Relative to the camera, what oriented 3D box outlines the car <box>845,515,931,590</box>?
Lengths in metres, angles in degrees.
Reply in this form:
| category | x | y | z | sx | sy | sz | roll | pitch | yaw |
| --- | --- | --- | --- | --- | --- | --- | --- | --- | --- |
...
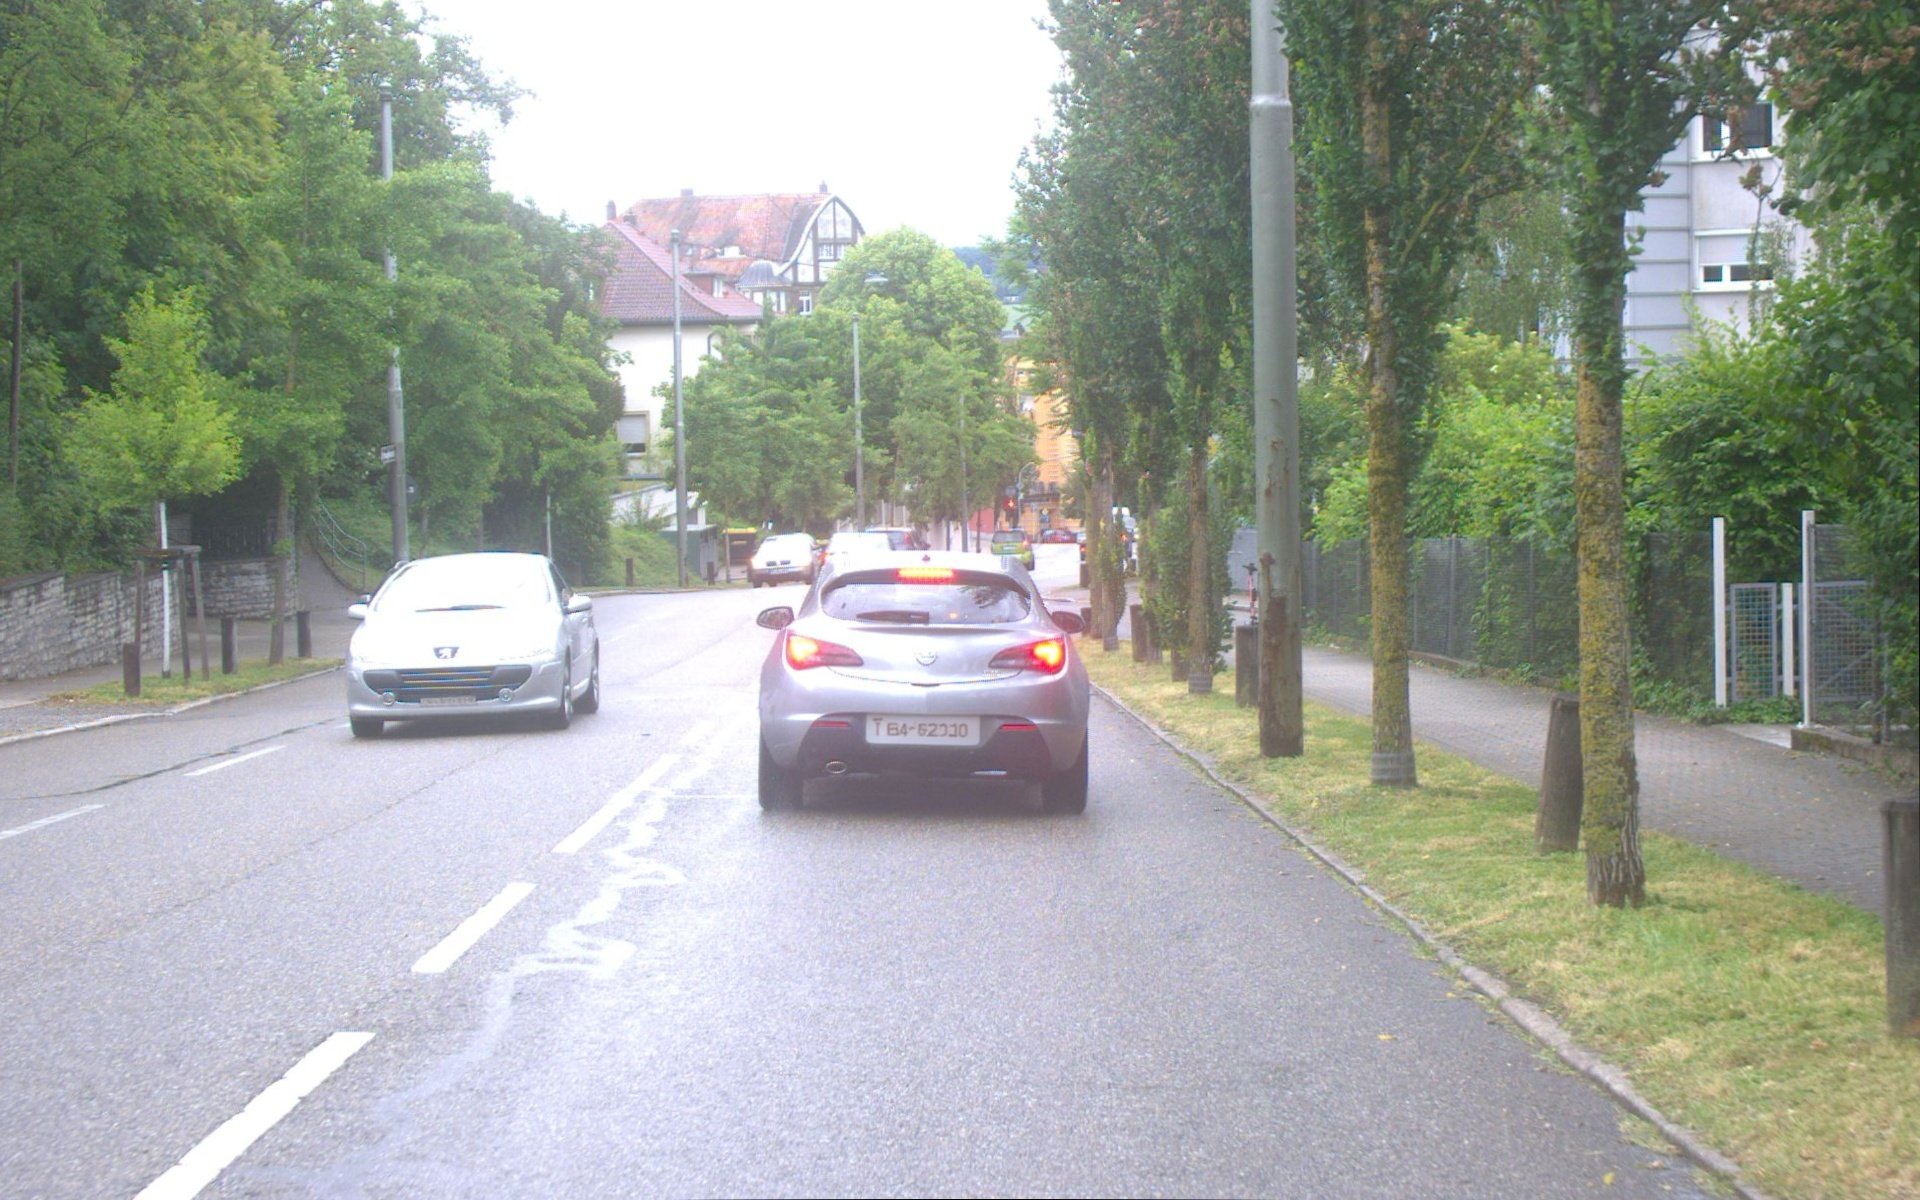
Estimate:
| category | x | y | z | sx | sy | sz | roll | pitch | yaw |
| --- | --- | --- | --- | --- | --- | --- | --- | --- | --- |
| car | -1.831 | -1.254 | 88.967 | 1.769 | 1.775 | 3.976 | 2 | 2 | 5 |

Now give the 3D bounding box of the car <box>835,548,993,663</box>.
| category | x | y | z | sx | sy | sz | roll | pitch | yaw |
| --- | --- | --- | --- | --- | --- | --- | --- | --- | --- |
| car | -0.522 | 0.031 | 42.484 | 1.798 | 1.318 | 4.000 | 0 | 1 | 1 |

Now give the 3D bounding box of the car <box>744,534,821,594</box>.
| category | x | y | z | sx | sy | sz | roll | pitch | yaw |
| --- | --- | --- | --- | --- | --- | --- | --- | --- | --- |
| car | -4.860 | -1.003 | 94.523 | 1.765 | 1.481 | 3.801 | -3 | 2 | 1 |

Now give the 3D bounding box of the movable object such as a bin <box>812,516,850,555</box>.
| category | x | y | z | sx | sy | sz | roll | pitch | yaw |
| --- | --- | --- | --- | --- | --- | --- | --- | --- | --- |
| movable object such as a bin | -4.568 | -2.289 | 121.609 | 1.272 | 1.382 | 0.489 | 0 | 2 | 5 |

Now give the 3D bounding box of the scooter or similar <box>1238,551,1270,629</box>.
| category | x | y | z | sx | sy | sz | roll | pitch | yaw |
| --- | --- | --- | --- | --- | --- | --- | --- | --- | --- |
| scooter or similar | 4.829 | -0.166 | 56.544 | 0.342 | 1.250 | 1.267 | 2 | 0 | -2 |

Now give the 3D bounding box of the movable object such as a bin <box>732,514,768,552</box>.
| category | x | y | z | sx | sy | sz | roll | pitch | yaw |
| --- | --- | --- | --- | --- | --- | --- | --- | --- | --- |
| movable object such as a bin | -7.779 | -2.486 | 127.581 | 1.272 | 1.382 | 0.489 | 0 | 2 | 5 |

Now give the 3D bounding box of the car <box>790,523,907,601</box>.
| category | x | y | z | sx | sy | sz | roll | pitch | yaw |
| --- | --- | --- | --- | --- | --- | --- | --- | --- | --- |
| car | -2.299 | -0.824 | 71.940 | 1.961 | 1.467 | 3.950 | 2 | 2 | 5 |

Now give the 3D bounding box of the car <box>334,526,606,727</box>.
| category | x | y | z | sx | sy | sz | roll | pitch | yaw |
| --- | --- | --- | --- | --- | --- | --- | --- | --- | --- |
| car | -3.963 | 0.180 | 28.366 | 1.761 | 1.481 | 4.000 | -2 | 1 | -2 |

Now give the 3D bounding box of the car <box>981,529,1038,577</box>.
| category | x | y | z | sx | sy | sz | roll | pitch | yaw |
| --- | --- | --- | --- | --- | --- | --- | --- | --- | --- |
| car | 1.823 | -1.707 | 124.979 | 1.754 | 1.645 | 3.999 | 2 | 1 | 5 |

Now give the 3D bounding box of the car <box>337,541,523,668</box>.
| category | x | y | z | sx | sy | sz | roll | pitch | yaw |
| --- | --- | --- | --- | --- | --- | --- | --- | --- | --- |
| car | -7.215 | 0.033 | 47.143 | 1.745 | 1.544 | 3.918 | -4 | 1 | 1 |

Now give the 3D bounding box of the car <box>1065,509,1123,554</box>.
| category | x | y | z | sx | sy | sz | roll | pitch | yaw |
| --- | --- | --- | --- | --- | --- | --- | --- | --- | --- |
| car | 6.460 | -3.310 | 165.252 | 2.334 | 2.029 | 4.734 | 2 | 2 | 7 |

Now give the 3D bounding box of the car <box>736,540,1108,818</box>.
| category | x | y | z | sx | sy | sz | roll | pitch | yaw |
| --- | --- | --- | --- | --- | --- | --- | --- | --- | --- |
| car | -0.222 | 0.393 | 20.235 | 1.945 | 1.427 | 3.884 | 2 | 1 | -1 |
